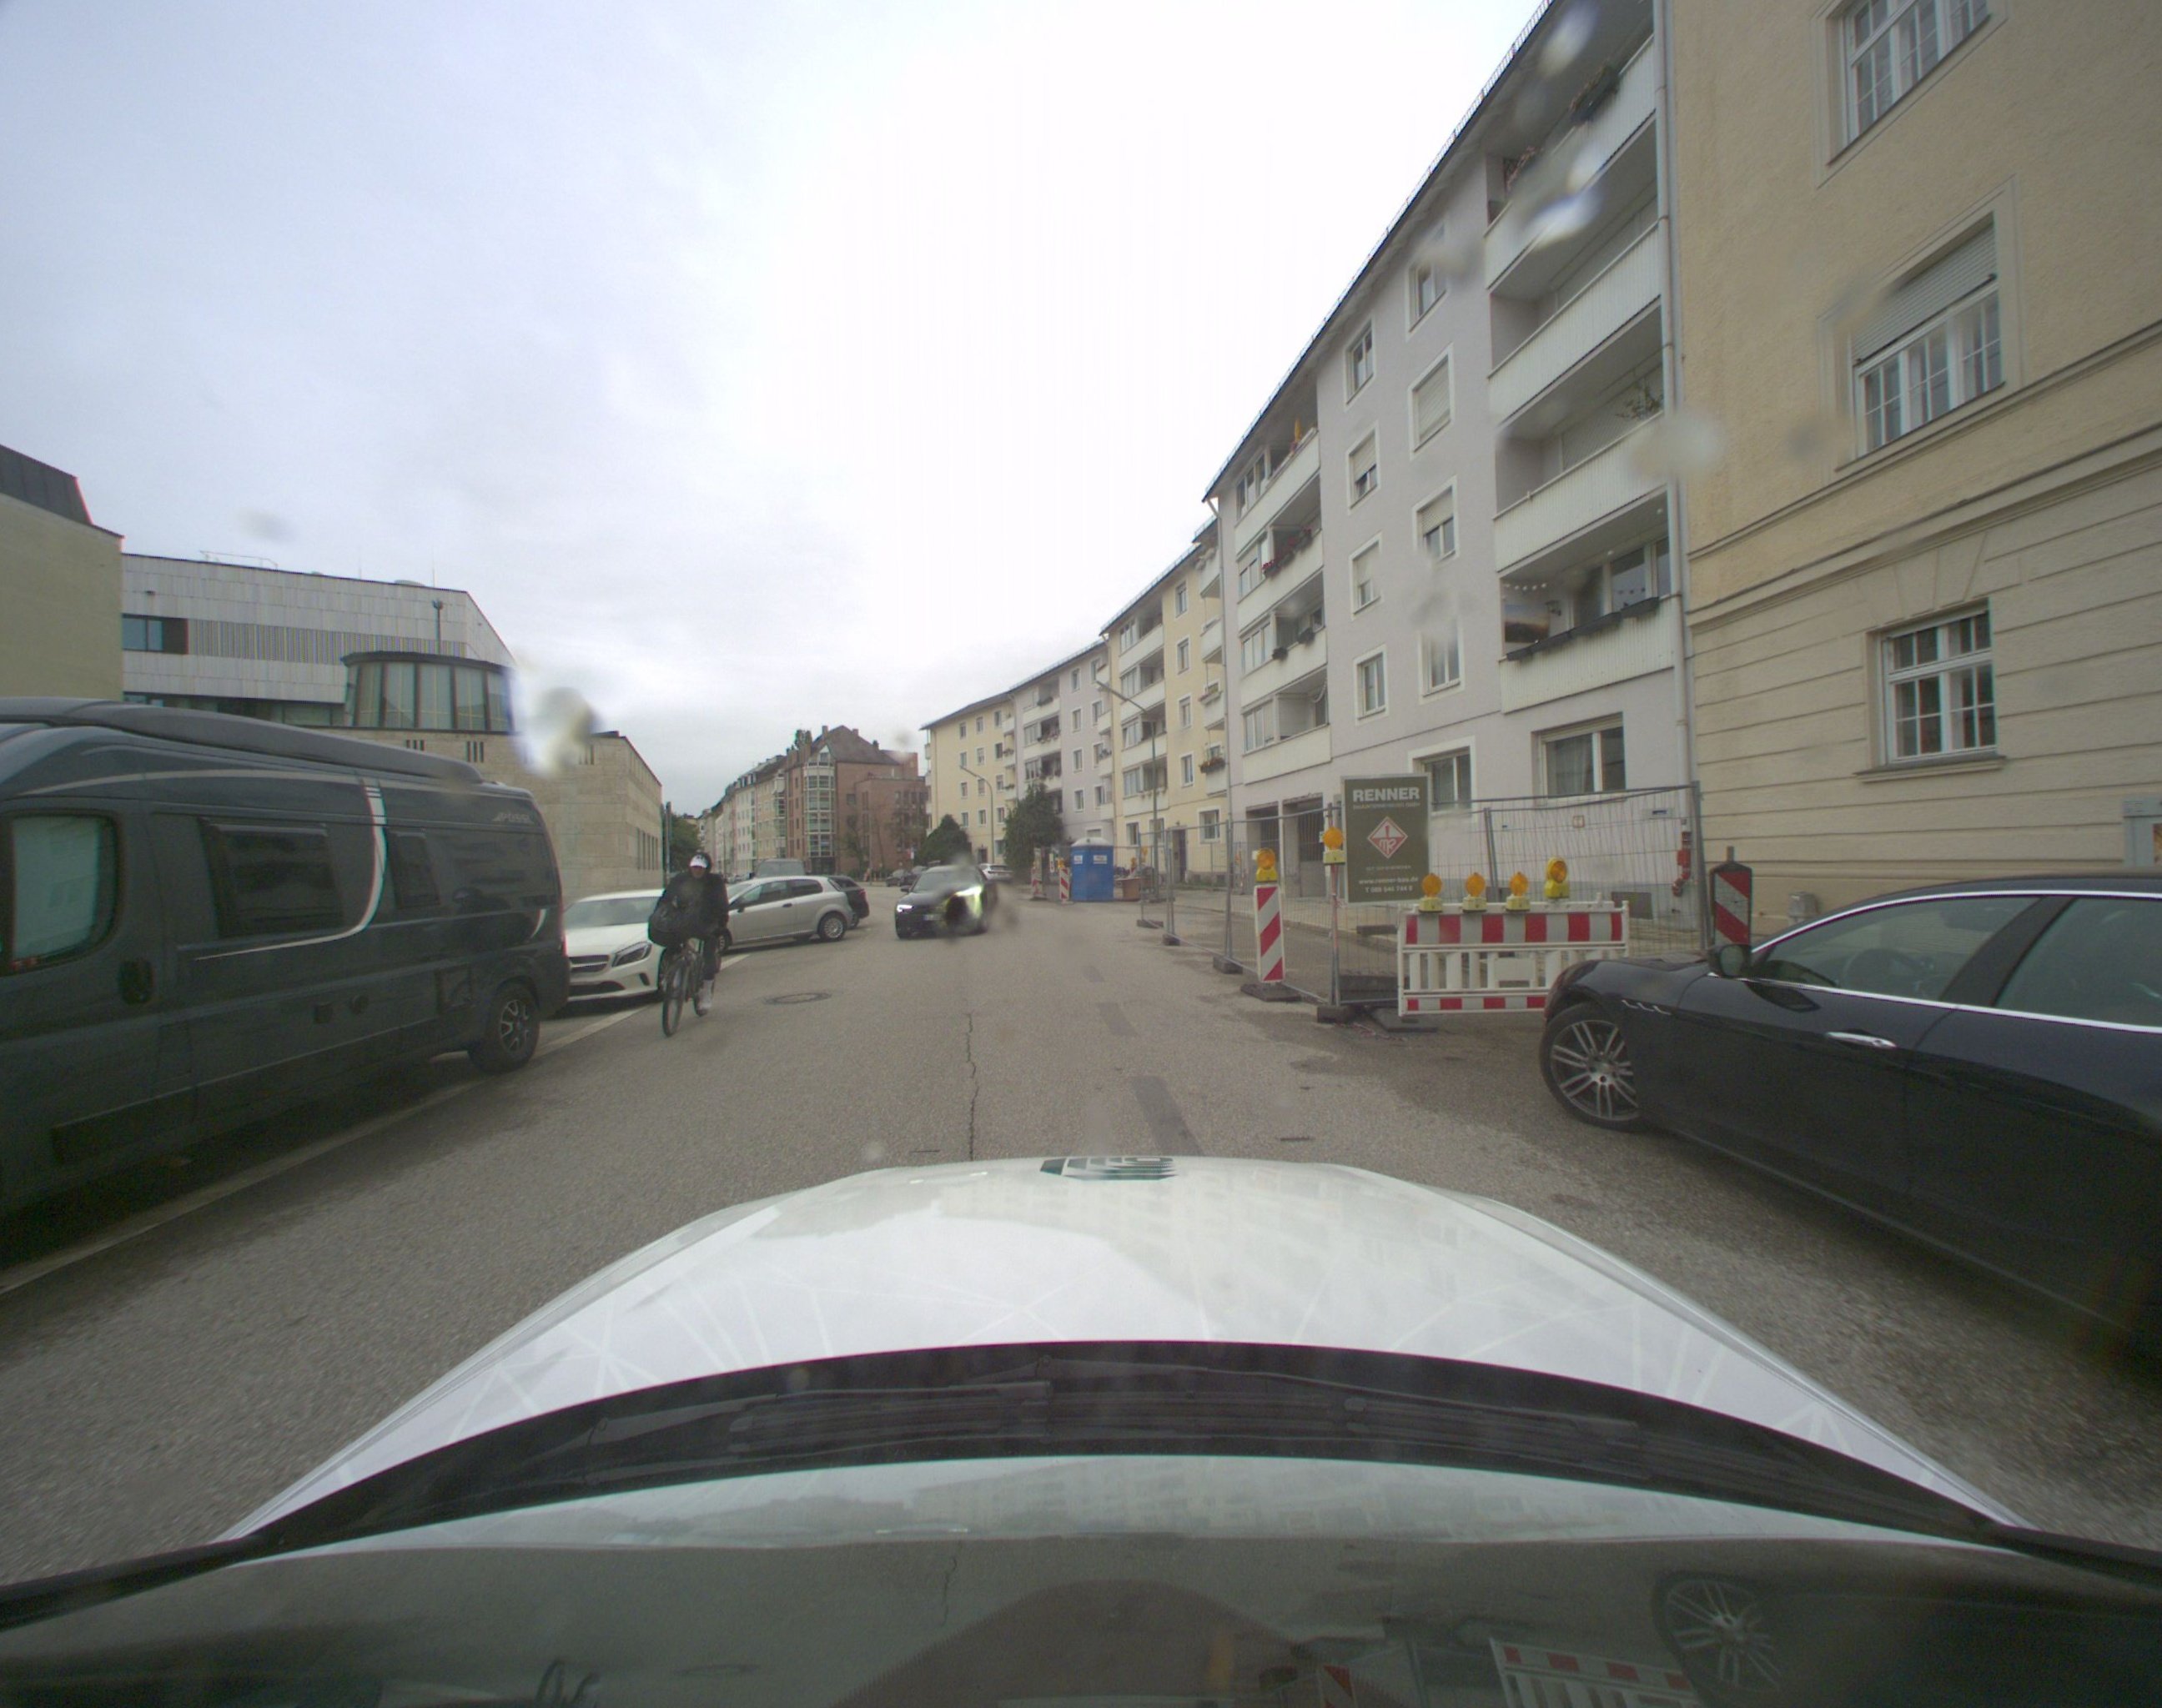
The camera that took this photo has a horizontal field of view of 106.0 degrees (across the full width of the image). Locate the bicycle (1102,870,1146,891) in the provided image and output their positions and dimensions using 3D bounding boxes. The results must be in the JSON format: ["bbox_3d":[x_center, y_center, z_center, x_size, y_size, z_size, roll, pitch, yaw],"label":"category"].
[{"bbox_3d":[2.377,1.447,44.894,2.238,1.069,0.914,-1,-1,-18],"label":"bicycle"}]

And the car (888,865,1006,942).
[{"bbox_3d":[-2.905,1.032,18.701,1.914,1.412,4.701,-4,-1,-1],"label":"car"}]

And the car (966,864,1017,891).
[{"bbox_3d":[-5.557,1.436,49.973,1.840,1.574,3.965,-1,-1,-27],"label":"car"}]

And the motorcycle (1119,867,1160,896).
[{"bbox_3d":[2.532,1.184,35.496,0.934,1.221,2.492,-1,-1,-18],"label":"motorcycle"}]

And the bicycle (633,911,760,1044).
[{"bbox_3d":[-3.946,1.215,8.532,0.585,1.069,1.931,-4,0,-8],"label":"bicycle"}]

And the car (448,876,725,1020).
[{"bbox_3d":[-6.515,1.109,11.371,1.996,1.451,4.196,-4,-1,-13],"label":"car"}]

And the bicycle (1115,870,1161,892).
[{"bbox_3d":[3.049,1.426,43.517,2.238,1.069,0.914,-1,-1,-18],"label":"bicycle"}]

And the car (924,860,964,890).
[{"bbox_3d":[-9.857,1.481,58.417,1.790,1.977,3.688,-3,0,-26],"label":"car"}]

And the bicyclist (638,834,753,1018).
[{"bbox_3d":[-3.981,0.711,8.480,0.744,1.771,0.813,-4,0,-7],"label":"bicyclist"}]

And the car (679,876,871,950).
[{"bbox_3d":[-7.524,1.400,20.239,4.022,1.421,1.791,-3,-1,-45],"label":"car"}]

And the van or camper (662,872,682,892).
[{"bbox_3d":[-54.693,3.722,108.807,2.110,2.551,4.725,0,-1,-30],"label":"van or camper"}]

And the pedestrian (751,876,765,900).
[{"bbox_3d":[-23.107,2.415,58.229,0.762,1.630,0.916,-1,-1,-13],"label":"pedestrian"}]

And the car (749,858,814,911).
[{"bbox_3d":[-11.049,1.103,29.967,2.060,1.736,4.850,-1,-1,-21],"label":"car"}]

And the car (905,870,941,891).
[{"bbox_3d":[-12.297,2.044,63.251,1.790,1.510,3.688,0,-1,-26],"label":"car"}]

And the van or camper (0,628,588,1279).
[{"bbox_3d":[-5.652,0.466,4.806,2.295,2.581,6.069,-3,0,-8],"label":"van or camper"}]

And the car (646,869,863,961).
[{"bbox_3d":[-6.796,1.207,17.206,3.831,1.507,1.693,-3,-1,-44],"label":"car"}]

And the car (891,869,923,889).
[{"bbox_3d":[-14.385,2.034,67.176,1.790,1.510,3.688,-2,-1,-26],"label":"car"}]

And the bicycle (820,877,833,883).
[{"bbox_3d":[-33.199,3.392,106.362,1.109,0.854,1.709,0,-1,-36],"label":"bicycle"}]

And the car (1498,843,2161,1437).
[{"bbox_3d":[3.679,0.704,3.011,1.901,1.477,4.949,-1,0,2],"label":"car"}]
